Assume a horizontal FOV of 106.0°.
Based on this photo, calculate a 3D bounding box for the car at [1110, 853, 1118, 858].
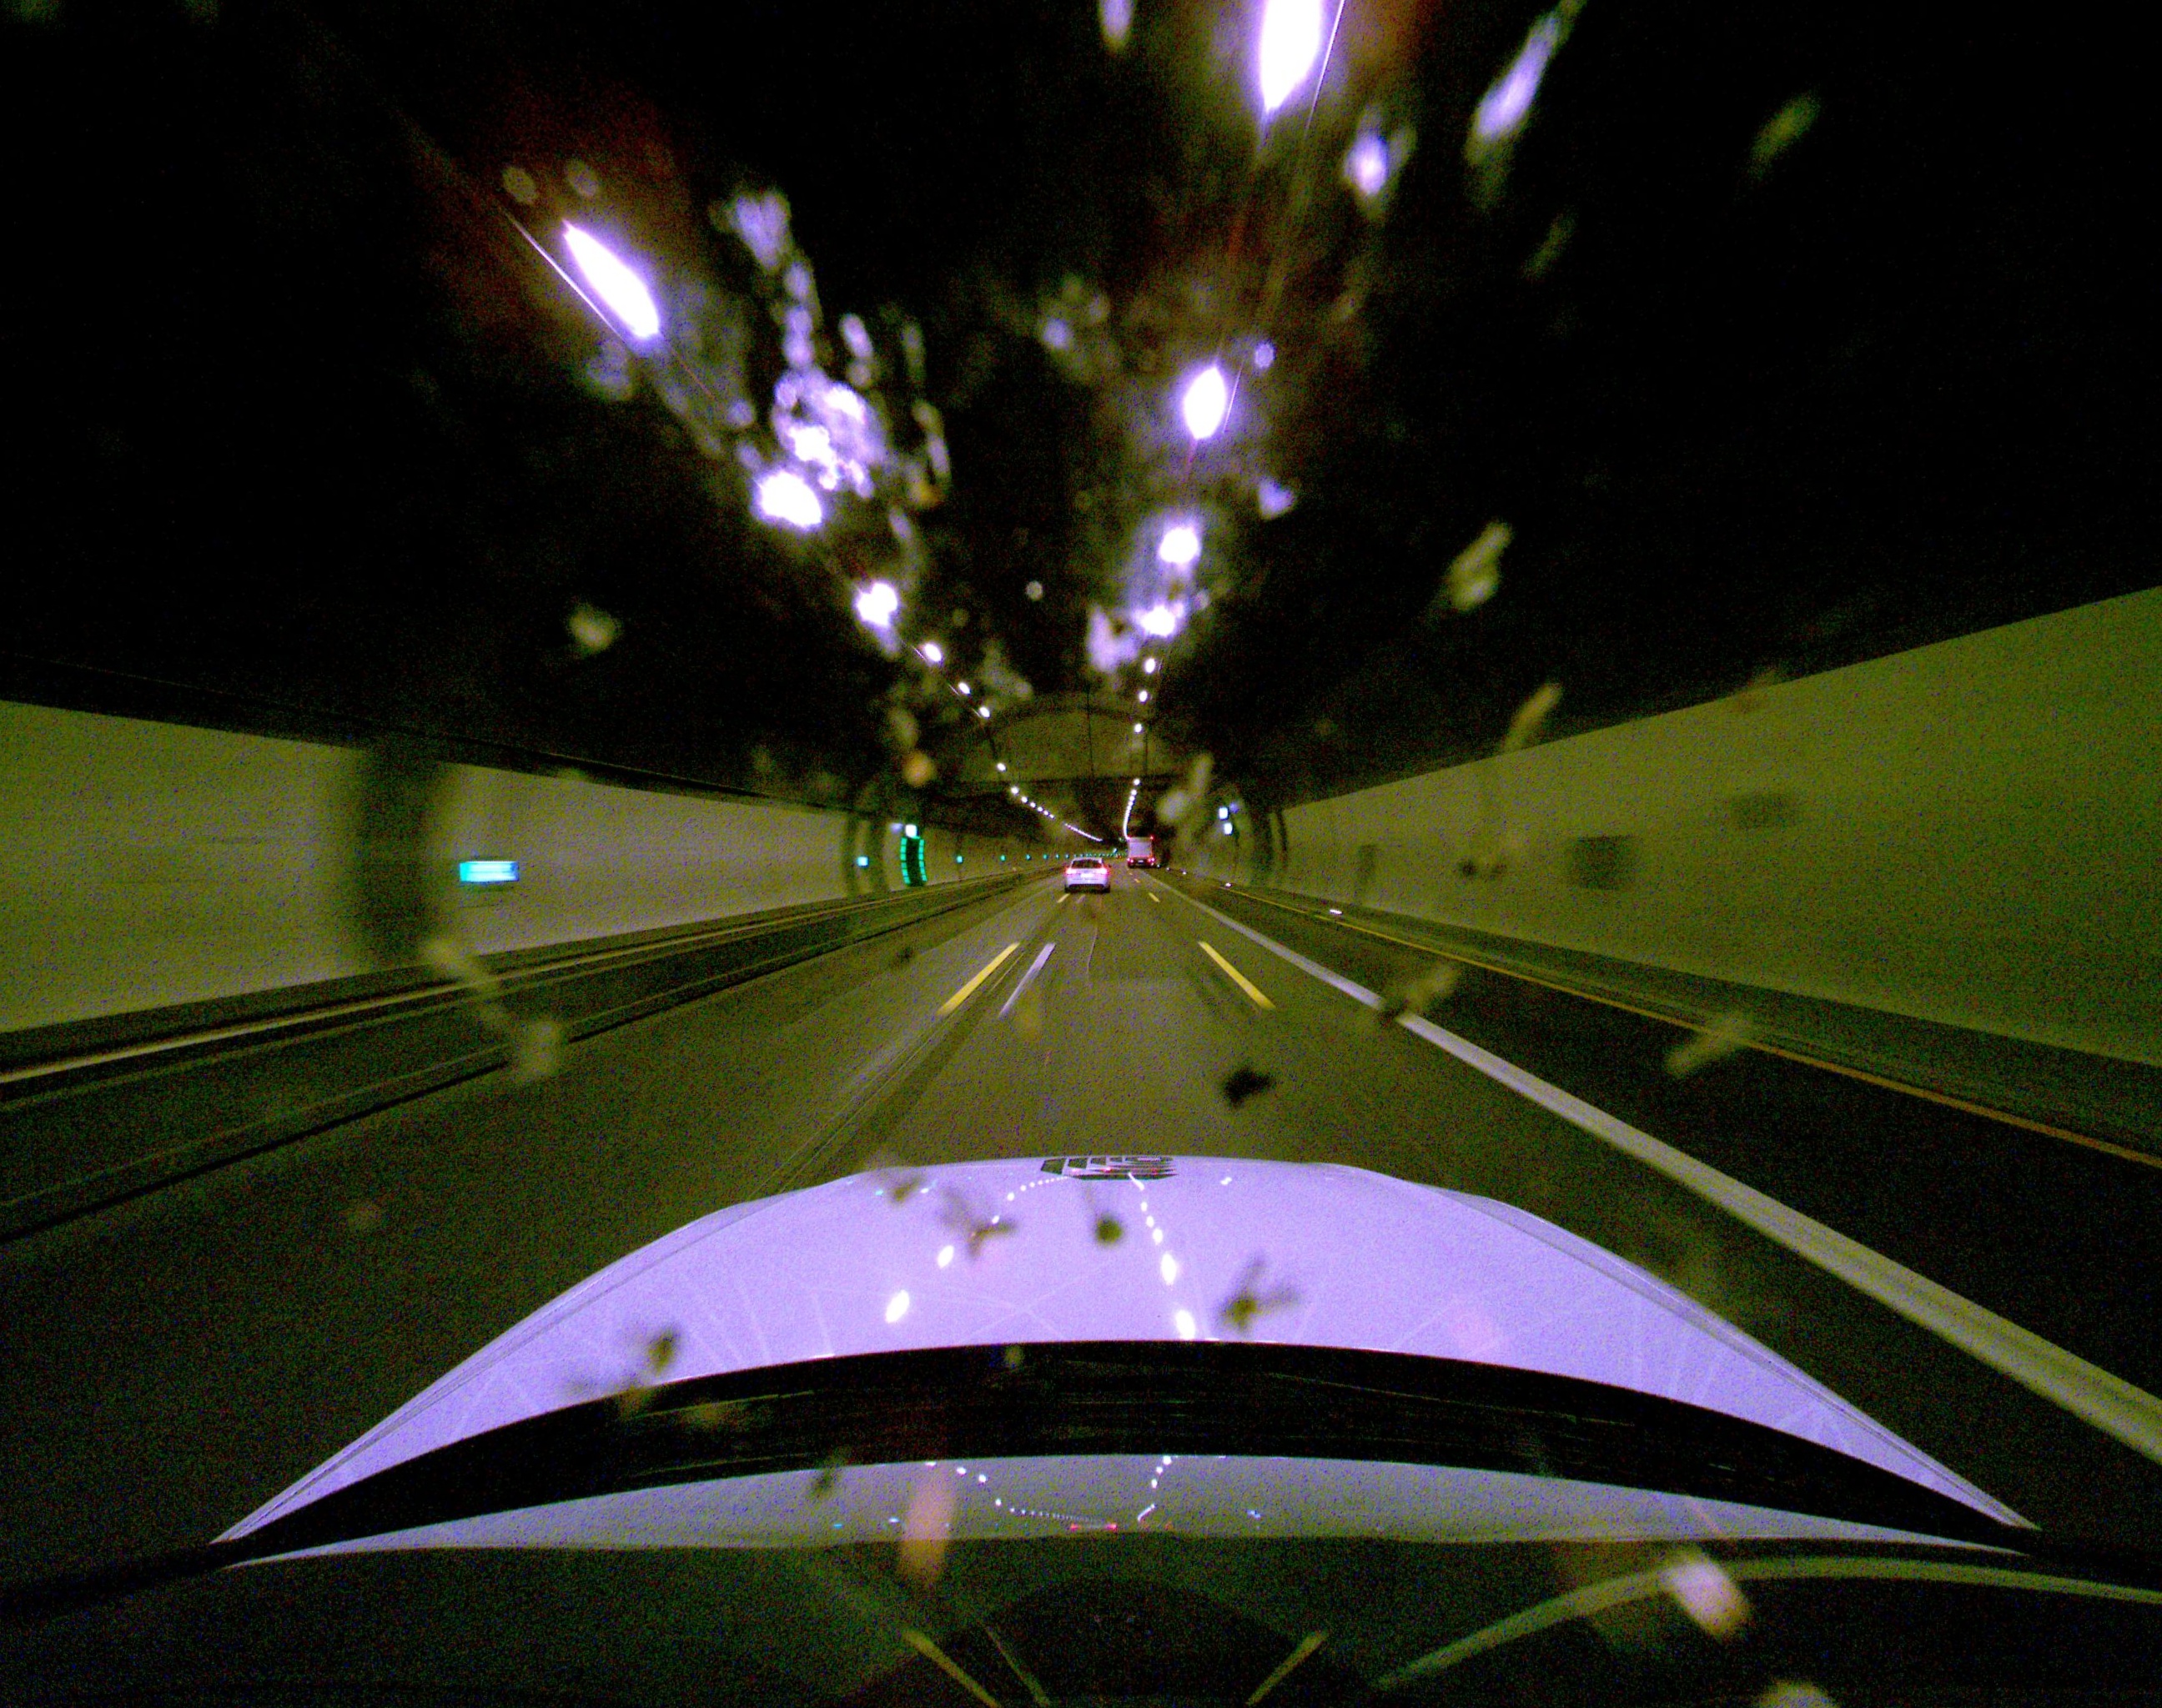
[{"bbox_3d":[10.424,0.391,256.996,1.983,1.519,4.007,-1,-1,6],"label":"car"}]

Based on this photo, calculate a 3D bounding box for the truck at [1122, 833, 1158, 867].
[{"bbox_3d":[6.622,-0.404,93.073,3.579,3.650,10.725,-1,0,2],"label":"truck"}]

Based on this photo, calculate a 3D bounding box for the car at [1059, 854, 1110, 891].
[{"bbox_3d":[0.200,0.737,34.195,1.986,1.413,4.744,-1,0,1],"label":"car"}]
